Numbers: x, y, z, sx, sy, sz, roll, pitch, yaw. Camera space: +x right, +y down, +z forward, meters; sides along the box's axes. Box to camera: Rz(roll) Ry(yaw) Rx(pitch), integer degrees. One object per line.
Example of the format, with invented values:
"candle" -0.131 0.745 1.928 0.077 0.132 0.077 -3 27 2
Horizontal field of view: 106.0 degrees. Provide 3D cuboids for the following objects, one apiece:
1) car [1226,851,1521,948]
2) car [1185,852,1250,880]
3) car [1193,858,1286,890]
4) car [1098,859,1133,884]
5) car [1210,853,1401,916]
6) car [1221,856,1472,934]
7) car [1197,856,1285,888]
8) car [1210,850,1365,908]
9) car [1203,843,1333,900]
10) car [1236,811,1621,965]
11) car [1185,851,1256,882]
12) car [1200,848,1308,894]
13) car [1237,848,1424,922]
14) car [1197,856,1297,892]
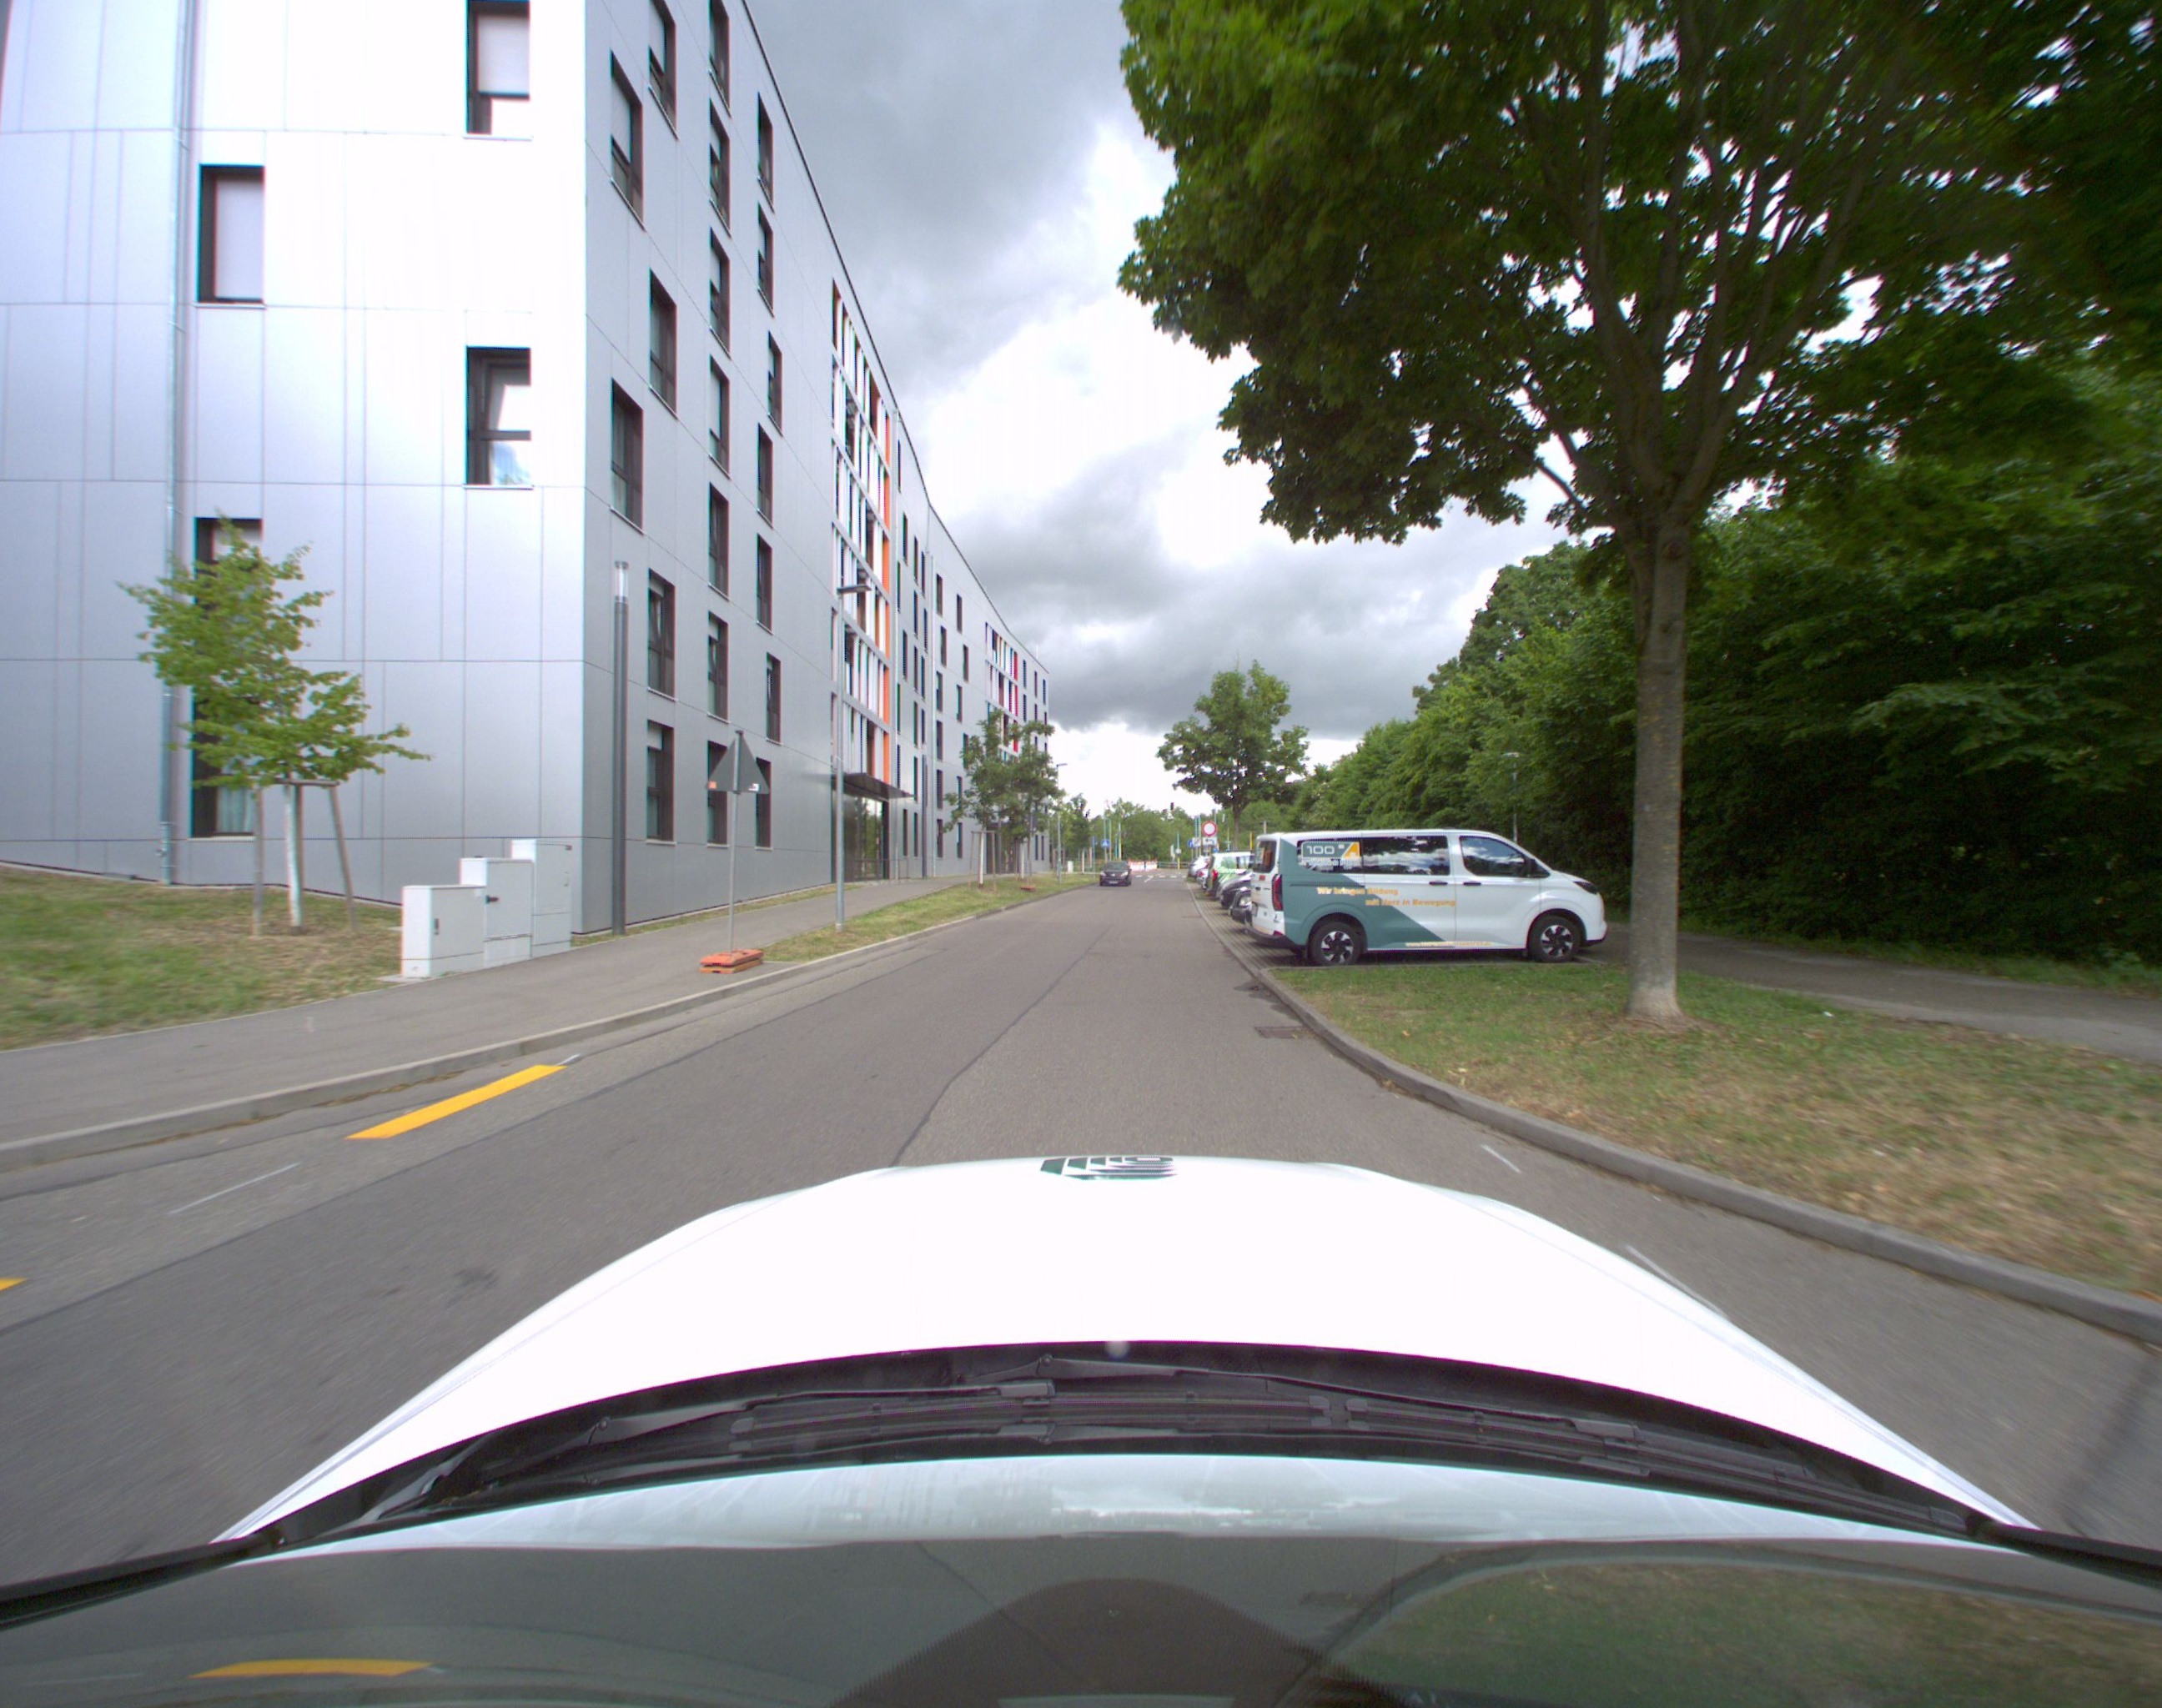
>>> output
"car" 5.105 0.788 14.747 4.682 1.516 1.849 -2 0 4
"car" 9.538 0.844 57.214 4.359 1.903 1.919 1 0 4
"car" 7.861 0.962 40.615 4.359 1.475 1.919 1 0 4
"car" 2.027 0.978 47.129 1.600 1.388 4.008 1 0 8
"car" 6.090 0.811 22.557 4.708 1.499 2.112 -2 0 1
"car" 5.423 0.826 17.245 4.700 1.434 2.060 -2 0 5
"car" 8.407 0.923 43.141 4.359 1.617 1.919 1 0 4
"car" 6.259 0.750 25.100 4.359 1.577 1.919 -2 0 4
"car" 6.782 0.620 29.920 4.359 1.904 1.919 -2 0 4
"car" 4.985 0.472 12.201 4.956 1.972 1.847 -2 0 0
"car" 9.008 0.809 52.868 4.359 1.903 1.919 1 0 4
"car" 7.446 0.722 35.437 4.359 1.904 1.939 1 0 4
"car" 5.993 0.733 19.999 4.047 1.609 1.894 -2 0 4
"car" 7.653 0.927 37.830 4.359 1.574 1.918 1 -1 4
